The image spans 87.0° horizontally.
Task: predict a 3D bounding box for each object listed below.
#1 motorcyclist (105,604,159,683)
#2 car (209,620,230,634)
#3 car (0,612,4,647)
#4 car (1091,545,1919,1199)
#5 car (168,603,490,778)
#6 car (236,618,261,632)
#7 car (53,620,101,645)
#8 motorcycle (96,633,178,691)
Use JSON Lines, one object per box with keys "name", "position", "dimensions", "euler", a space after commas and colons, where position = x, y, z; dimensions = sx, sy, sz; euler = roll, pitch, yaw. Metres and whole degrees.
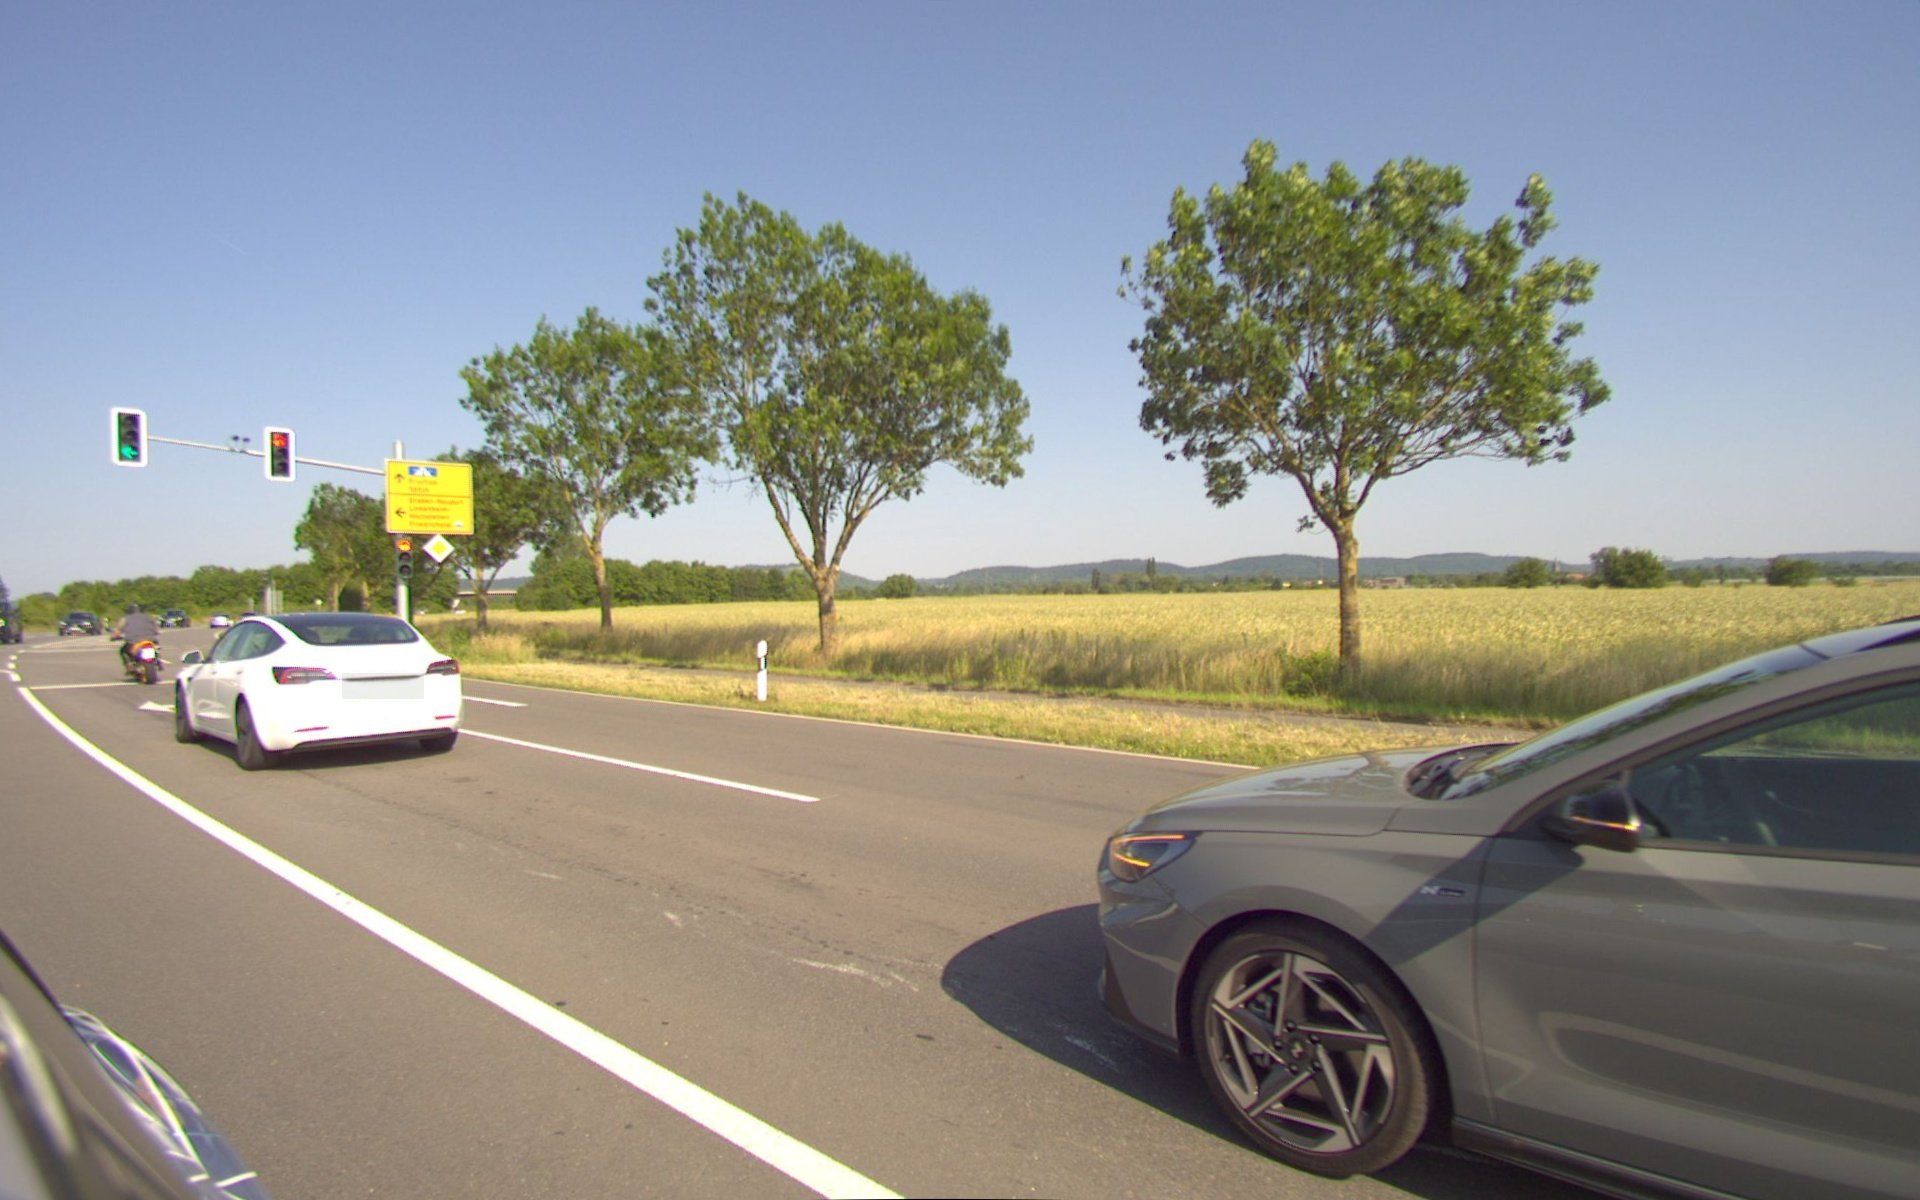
{"name": "motorcyclist", "position": [-16.729, 0.859, 20.446], "dimensions": [1.181, 1.527, 0.672], "euler": [-1, -1, 42]}
{"name": "car", "position": [-72.844, 2.657, 99.538], "dimensions": [1.608, 1.387, 4.431], "euler": [2, -2, -37]}
{"name": "car", "position": [-44.035, 1.336, 45.151], "dimensions": [1.834, 1.554, 4.006], "euler": [0, -1, -41]}
{"name": "car", "position": [2.613, 0.642, 2.276], "dimensions": [4.303, 1.472, 1.870], "euler": [-1, -1, 41]}
{"name": "car", "position": [-6.806, 0.796, 10.711], "dimensions": [4.276, 1.477, 1.869], "euler": [-1, -1, 43]}
{"name": "car", "position": [-83.704, 2.907, 119.090], "dimensions": [1.858, 1.638, 4.013], "euler": [2, -2, -28]}
{"name": "car", "position": [-58.403, 2.107, 67.002], "dimensions": [1.831, 1.554, 4.011], "euler": [0, -1, -33]}
{"name": "motorcycle", "position": [-16.543, 1.211, 20.328], "dimensions": [2.427, 1.051, 0.887], "euler": [-1, -1, 41]}
